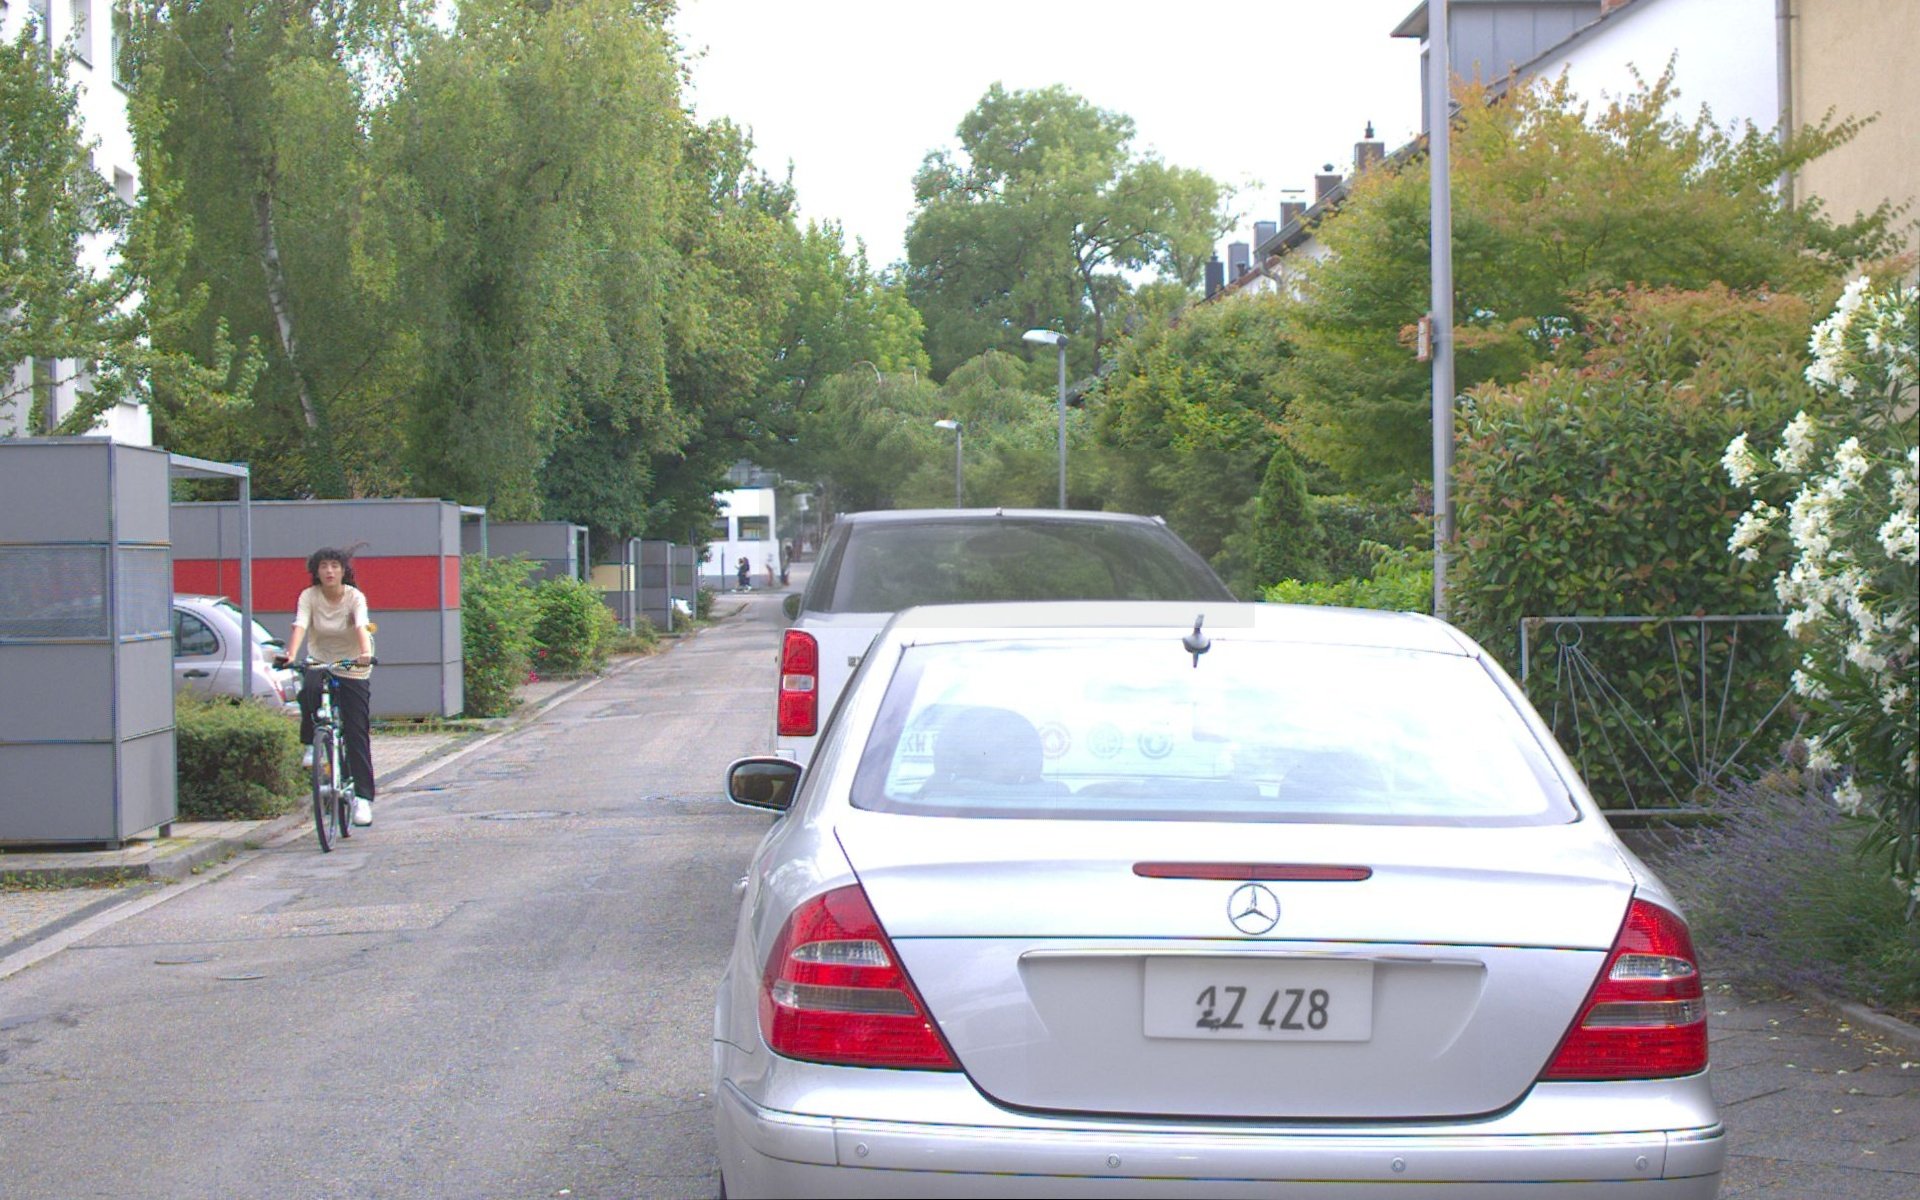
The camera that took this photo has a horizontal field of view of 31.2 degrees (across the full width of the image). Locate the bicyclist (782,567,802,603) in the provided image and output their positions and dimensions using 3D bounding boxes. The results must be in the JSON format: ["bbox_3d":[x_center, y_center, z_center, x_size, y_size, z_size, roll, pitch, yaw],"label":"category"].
[{"bbox_3d":[-7.072,-0.645,144.775,0.798,1.506,0.934,1,0,0],"label":"bicyclist"}]

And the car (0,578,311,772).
[{"bbox_3d":[-7.329,0.625,28.768,3.561,1.475,1.711,-2,1,-6],"label":"car"}]

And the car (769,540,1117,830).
[{"bbox_3d":[-0.207,0.463,21.491,1.824,1.630,4.163,0,1,-5],"label":"car"}]

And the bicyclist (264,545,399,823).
[{"bbox_3d":[-3.679,0.481,20.172,0.597,1.575,0.767,-2,0,-1],"label":"bicyclist"}]

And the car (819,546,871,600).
[{"bbox_3d":[-4.151,-0.997,124.419,1.825,1.877,4.000,1,1,-2],"label":"car"}]

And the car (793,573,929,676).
[{"bbox_3d":[-1.411,0.318,49.115,1.825,1.365,4.331,1,1,-2],"label":"car"}]

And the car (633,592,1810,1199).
[{"bbox_3d":[0.374,0.716,7.460,1.783,1.416,4.455,0,1,-1],"label":"car"}]

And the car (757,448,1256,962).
[{"bbox_3d":[0.056,0.380,15.816,1.903,1.958,5.254,0,1,-3],"label":"car"}]

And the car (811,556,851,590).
[{"bbox_3d":[-6.196,-1.318,165.344,1.825,1.576,4.000,1,1,-2],"label":"car"}]

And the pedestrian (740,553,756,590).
[{"bbox_3d":[-10.427,-1.402,169.122,0.777,1.799,0.548,1,0,-3],"label":"pedestrian"}]

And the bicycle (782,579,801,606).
[{"bbox_3d":[-7.091,-0.330,144.792,0.689,1.127,2.579,1,0,0],"label":"bicycle"}]

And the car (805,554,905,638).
[{"bbox_3d":[-2.097,-0.093,67.883,1.825,1.576,4.001,1,1,-4],"label":"car"}]

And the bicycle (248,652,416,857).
[{"bbox_3d":[-3.666,0.877,20.202,0.597,1.072,2.042,-2,1,-1],"label":"bicycle"}]
